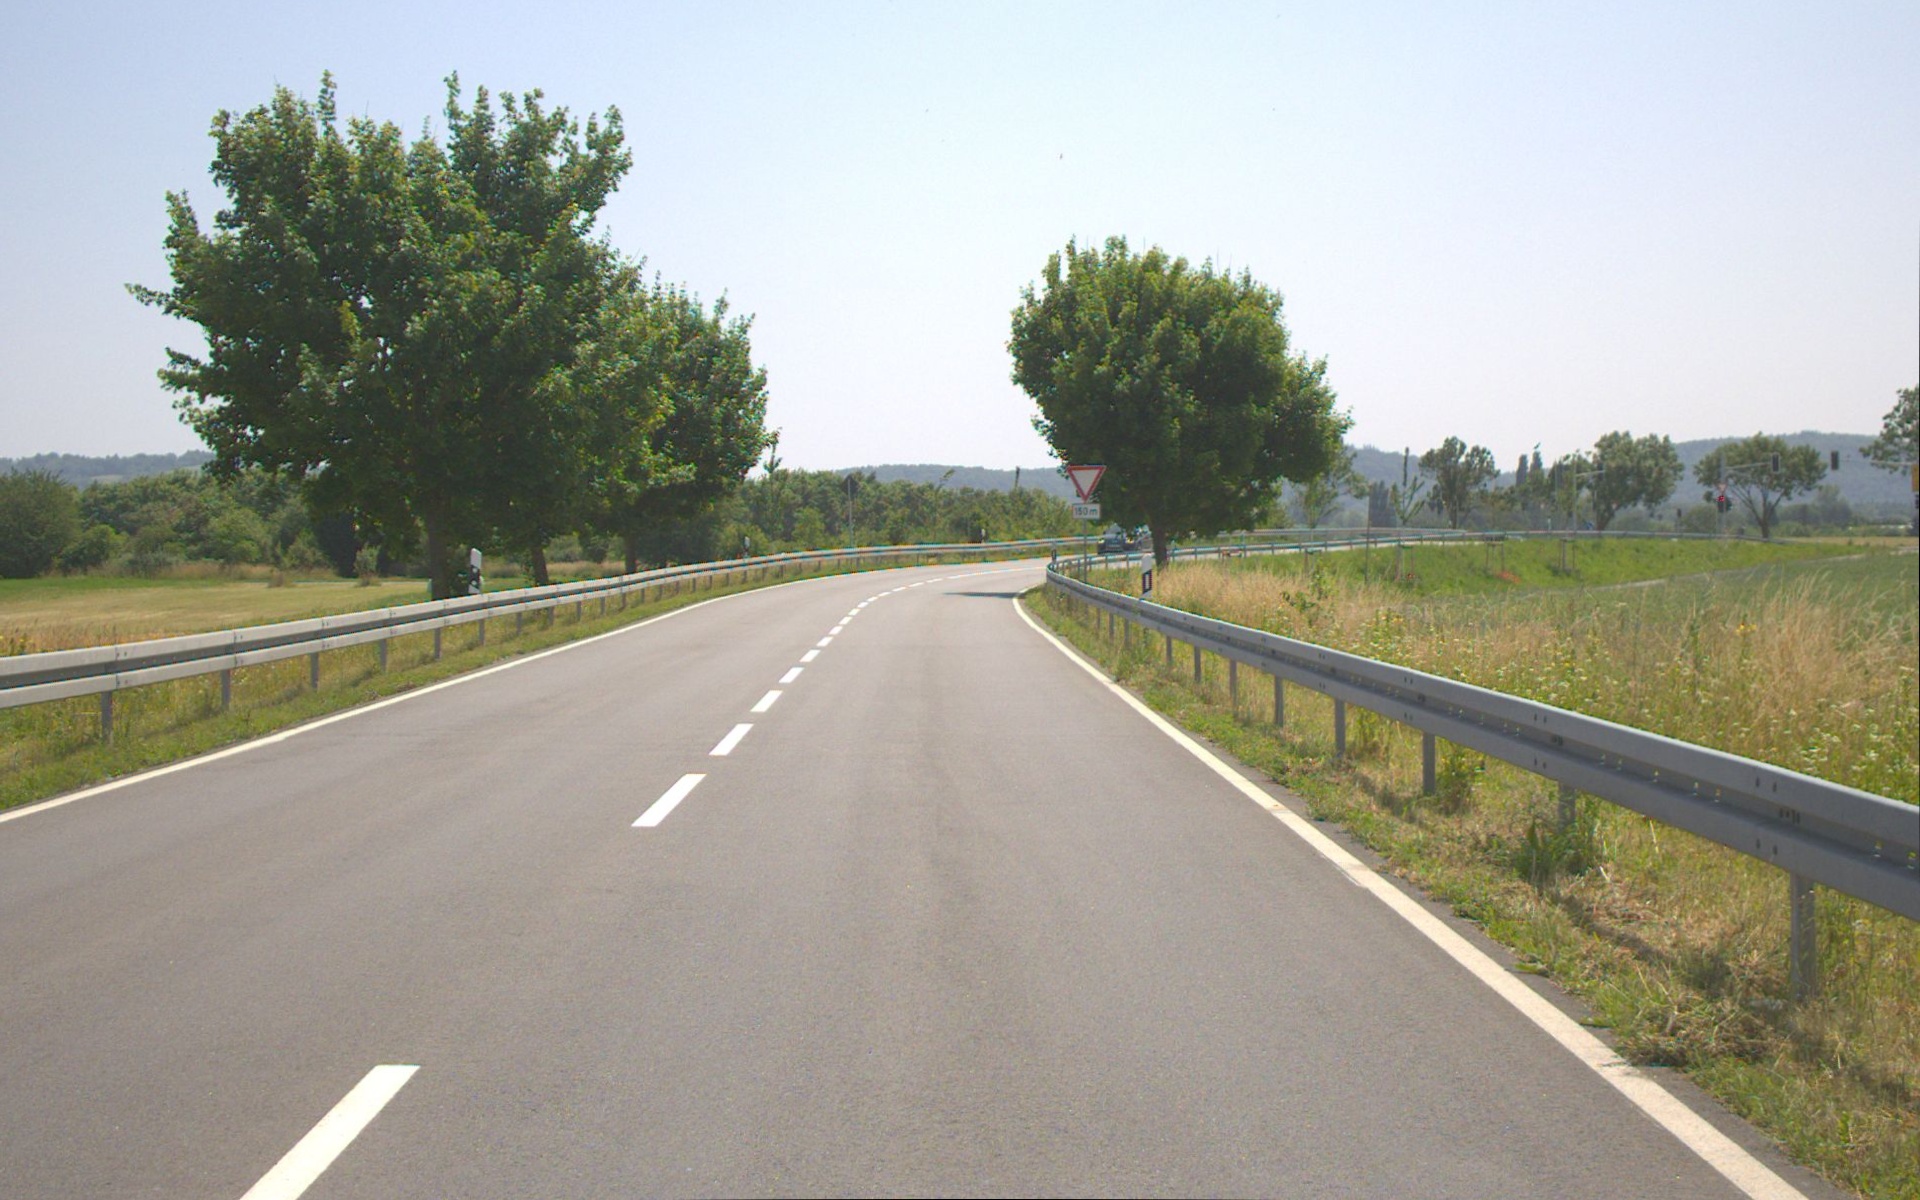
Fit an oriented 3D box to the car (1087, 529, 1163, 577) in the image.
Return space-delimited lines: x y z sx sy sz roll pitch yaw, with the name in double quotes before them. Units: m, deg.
"car" 7.171 -2.029 149.210 1.996 2.007 3.995 2 0 22
